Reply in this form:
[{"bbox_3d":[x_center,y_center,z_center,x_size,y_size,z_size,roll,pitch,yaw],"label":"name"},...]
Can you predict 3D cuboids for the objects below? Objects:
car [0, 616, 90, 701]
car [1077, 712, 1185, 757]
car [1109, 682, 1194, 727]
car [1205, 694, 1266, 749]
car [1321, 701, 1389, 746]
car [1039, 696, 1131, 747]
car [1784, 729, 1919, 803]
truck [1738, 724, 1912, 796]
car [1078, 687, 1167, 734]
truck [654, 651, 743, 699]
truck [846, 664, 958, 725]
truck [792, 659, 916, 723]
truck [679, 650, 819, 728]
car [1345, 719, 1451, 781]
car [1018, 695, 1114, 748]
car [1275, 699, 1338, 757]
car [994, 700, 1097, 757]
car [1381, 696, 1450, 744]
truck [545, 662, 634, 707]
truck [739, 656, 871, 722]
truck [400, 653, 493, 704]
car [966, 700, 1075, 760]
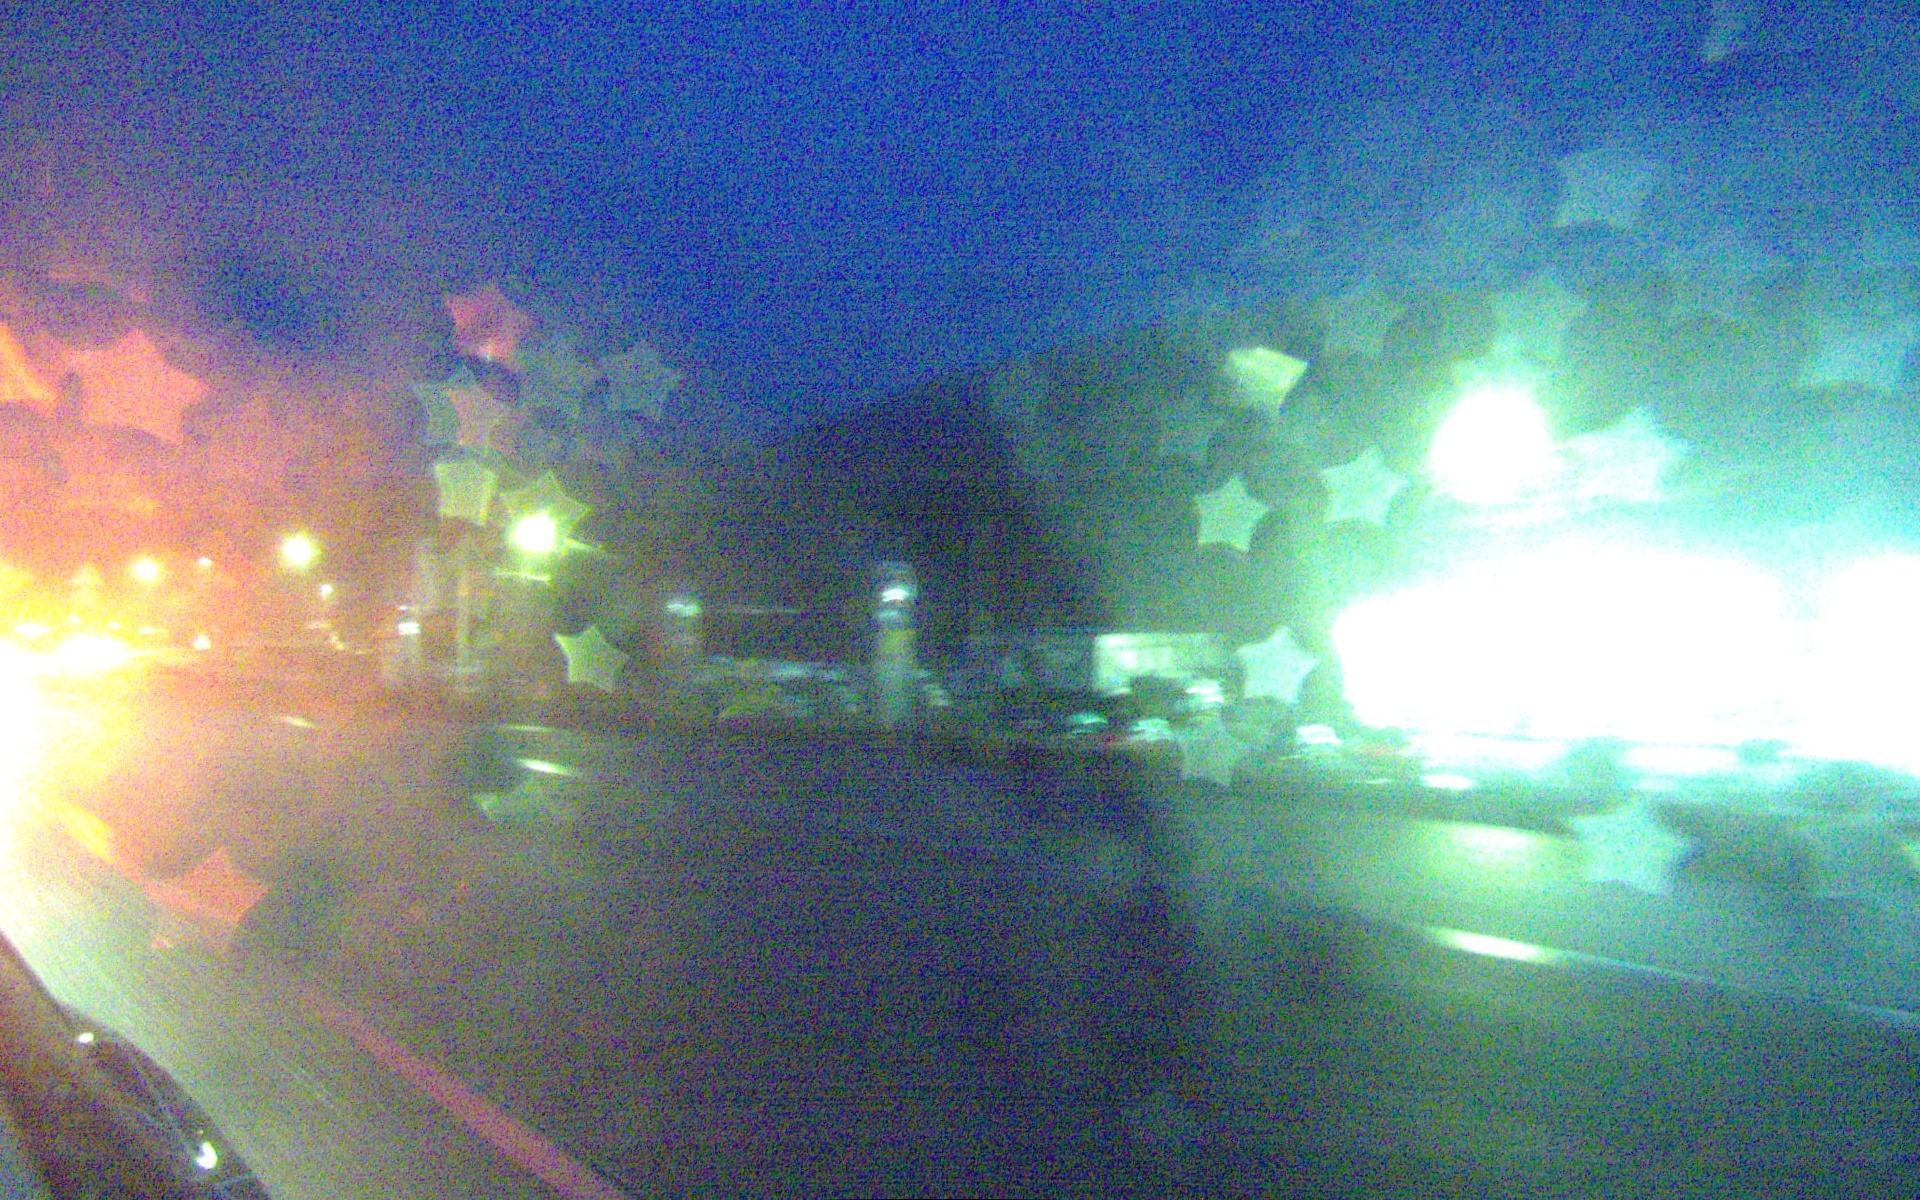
[{"bbox_3d":[-17.404,0.997,18.451,4.320,1.390,1.575,-1,0,39],"label":"car"},{"bbox_3d":[5.588,4.356,32.797,1.844,1.210,3.951,0,-6,36],"label":"car"},{"bbox_3d":[9.771,5.318,51.683,3.980,2.029,1.723,-1,-1,28],"label":"car"},{"bbox_3d":[10.359,4.524,38.271,1.980,1.652,3.984,-1,-1,12],"label":"car"},{"bbox_3d":[18.076,5.651,46.220,1.929,1.870,3.951,0,-6,36],"label":"car"},{"bbox_3d":[5.556,5.365,44.969,3.707,1.921,1.705,-1,-1,29],"label":"car"},{"bbox_3d":[23.630,4.137,24.856,4.814,1.579,1.988,1,-5,18],"label":"car"},{"bbox_3d":[31.198,5.747,36.705,4.482,2.135,2.067,0,-7,33],"label":"truck"},{"bbox_3d":[7.950,5.364,49.582,3.980,2.029,1.723,-1,-1,28],"label":"car"},{"bbox_3d":[-18.779,5.349,72.540,6.679,3.068,2.149,0,-6,35],"label":"truck"},{"bbox_3d":[-3.618,5.803,62.507,6.544,3.285,2.416,0,-6,32],"label":"truck"},{"bbox_3d":[-6.220,5.274,59.040,7.028,3.285,2.416,0,-6,32],"label":"truck"},{"bbox_3d":[-10.765,4.464,51.301,7.030,3.506,2.447,0,-6,33],"label":"truck"},{"bbox_3d":[12.425,4.198,28.598,1.908,1.466,3.951,0,-6,36],"label":"car"},{"bbox_3d":[4.473,5.094,42.756,3.707,1.921,1.705,-1,-1,29],"label":"car"},{"bbox_3d":[12.854,4.665,37.417,1.986,1.652,3.971,-1,-1,22],"label":"car"},{"bbox_3d":[3.390,5.070,40.304,3.707,1.921,1.705,-1,-1,29],"label":"car"},{"bbox_3d":[20.255,5.352,44.949,1.996,1.870,3.951,0,-6,36],"label":"car"},{"bbox_3d":[-24.212,5.477,66.018,6.866,2.538,2.146,-1,-7,40],"label":"truck"},{"bbox_3d":[-8.463,4.818,55.007,7.028,3.121,2.416,0,-6,32],"label":"truck"},{"bbox_3d":[-29.953,4.522,58.882,6.866,2.538,2.146,-1,-7,40],"label":"truck"},{"bbox_3d":[2.269,4.817,37.849,3.707,1.921,1.705,-1,-1,29],"label":"car"}]
